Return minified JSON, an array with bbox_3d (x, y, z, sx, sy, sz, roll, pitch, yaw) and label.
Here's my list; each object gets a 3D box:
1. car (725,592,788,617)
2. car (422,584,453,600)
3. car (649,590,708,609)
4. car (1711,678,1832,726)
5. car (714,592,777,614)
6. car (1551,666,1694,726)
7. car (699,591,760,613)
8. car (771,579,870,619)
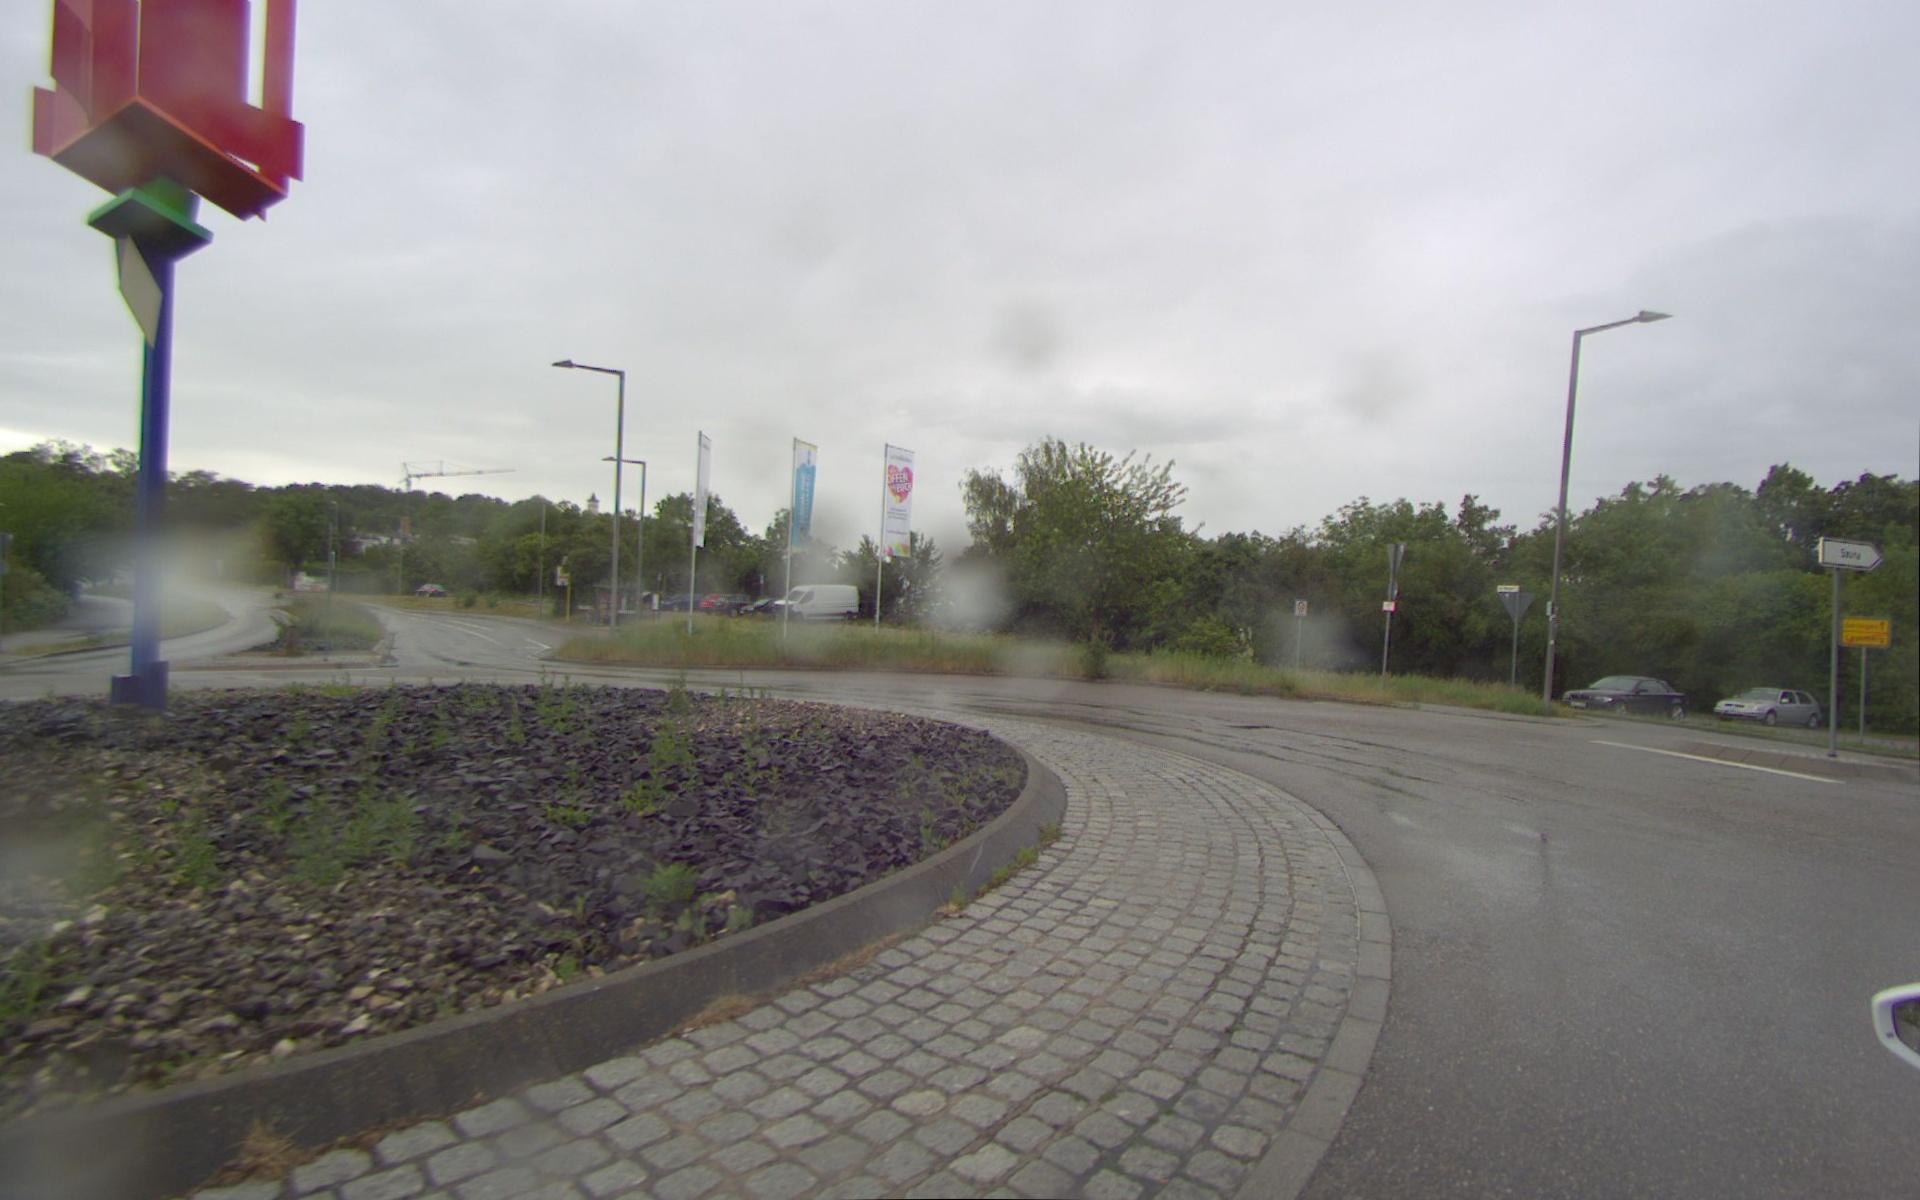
[{"bbox_3d":[-14.160,0.316,70.043,3.970,1.382,1.633,5,-2,-41],"label":"car"},{"bbox_3d":[-53.411,-0.859,102.645,1.684,1.589,4.484,-1,2,-43],"label":"car"},{"bbox_3d":[-21.611,-0.086,77.053,3.967,1.382,1.877,-1,2,-40],"label":"car"},{"bbox_3d":[30.468,3.836,37.710,4.061,1.372,1.600,6,-2,-20],"label":"car"},{"bbox_3d":[-15.283,0.210,71.623,3.968,1.382,1.826,3,0,-41],"label":"car"},{"bbox_3d":[20.711,3.001,31.400,4.132,1.372,1.617,7,-2,-22],"label":"car"},{"bbox_3d":[-17.016,0.170,74.323,3.971,1.488,1.825,3,0,-42],"label":"car"},{"bbox_3d":[-9.185,-0.038,66.674,2.109,2.430,6.537,4,3,44],"label":"car"}]
